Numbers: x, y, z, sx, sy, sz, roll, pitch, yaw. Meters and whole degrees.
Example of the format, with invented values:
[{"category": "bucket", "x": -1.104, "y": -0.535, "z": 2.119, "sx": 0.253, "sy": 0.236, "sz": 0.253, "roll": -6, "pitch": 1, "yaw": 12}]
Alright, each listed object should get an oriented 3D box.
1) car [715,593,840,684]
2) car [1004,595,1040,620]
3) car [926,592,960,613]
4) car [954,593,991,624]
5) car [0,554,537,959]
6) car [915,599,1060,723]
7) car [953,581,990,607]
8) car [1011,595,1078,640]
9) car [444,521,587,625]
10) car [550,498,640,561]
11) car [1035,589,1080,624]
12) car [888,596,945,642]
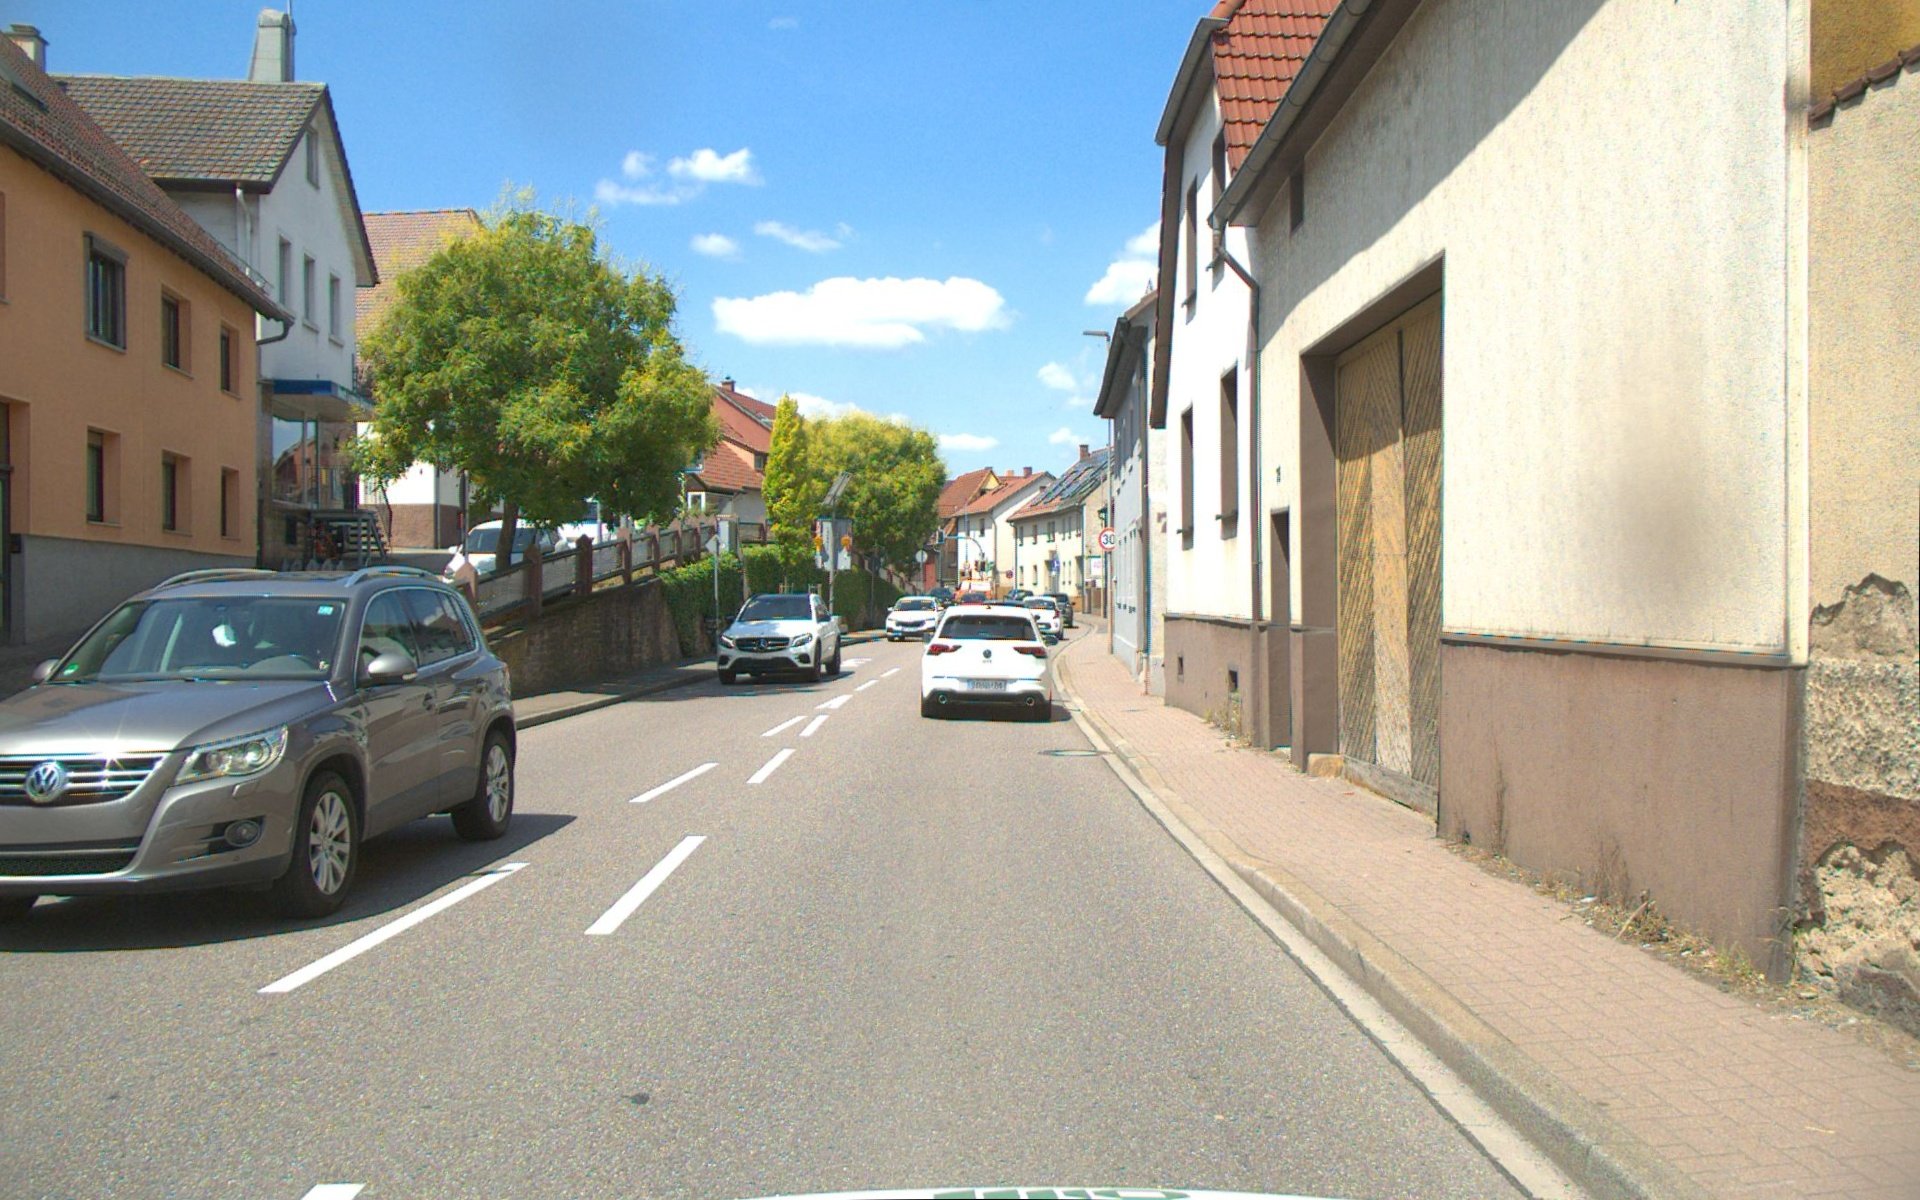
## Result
[{"category": "car", "x": -3.447, "y": 0.683, "z": 31.948, "sx": 1.804, "sy": 1.608, "sz": 4.446, "roll": -1, "pitch": 0, "yaw": 1}, {"category": "car", "x": 3.862, "y": 0.451, "z": 103.726, "sx": 1.741, "sy": 1.565, "sz": 3.995, "roll": 0, "pitch": 0, "yaw": -6}, {"category": "car", "x": -1.207, "y": 0.150, "z": 114.547, "sx": 1.761, "sy": 1.401, "sz": 4.108, "roll": 0, "pitch": 0, "yaw": -9}, {"category": "car", "x": 0.667, "y": 0.415, "z": 84.174, "sx": 1.583, "sy": 1.469, "sz": 3.803, "roll": -2, "pitch": 0, "yaw": 4}, {"category": "car", "x": -3.694, "y": 0.644, "z": 8.880, "sx": 1.721, "sy": 1.664, "sz": 4.049, "roll": -1, "pitch": 0, "yaw": 1}, {"category": "car", "x": 0.354, "y": 0.769, "z": 22.734, "sx": 1.771, "sy": 1.493, "sz": 4.000, "roll": 2, "pitch": 0, "yaw": 0}, {"category": "car", "x": 0.805, "y": -0.423, "z": 118.565, "sx": 1.745, "sy": 1.796, "sz": 3.987, "roll": 0, "pitch": 0, "yaw": -13}, {"category": "car", "x": 3.064, "y": 0.628, "z": 59.156, "sx": 1.769, "sy": 1.493, "sz": 4.003, "roll": 2, "pitch": 0, "yaw": 12}, {"category": "car", "x": -8.094, "y": -0.559, "z": 30.423, "sx": 1.659, "sy": 1.569, "sz": 3.857, "roll": 0, "pitch": 6, "yaw": -2}, {"category": "car", "x": -9.301, "y": -1.843, "z": 42.370, "sx": 1.545, "sy": 1.385, "sz": 3.857, "roll": 0, "pitch": 6, "yaw": -2}, {"category": "car", "x": 4.567, "y": 0.278, "z": 77.012, "sx": 1.737, "sy": 1.565, "sz": 4.003, "roll": 0, "pitch": 0, "yaw": 8}, {"category": "car", "x": -1.462, "y": 0.620, "z": 57.020, "sx": 1.776, "sy": 1.472, "sz": 4.430, "roll": -1, "pitch": 0, "yaw": 1}]
